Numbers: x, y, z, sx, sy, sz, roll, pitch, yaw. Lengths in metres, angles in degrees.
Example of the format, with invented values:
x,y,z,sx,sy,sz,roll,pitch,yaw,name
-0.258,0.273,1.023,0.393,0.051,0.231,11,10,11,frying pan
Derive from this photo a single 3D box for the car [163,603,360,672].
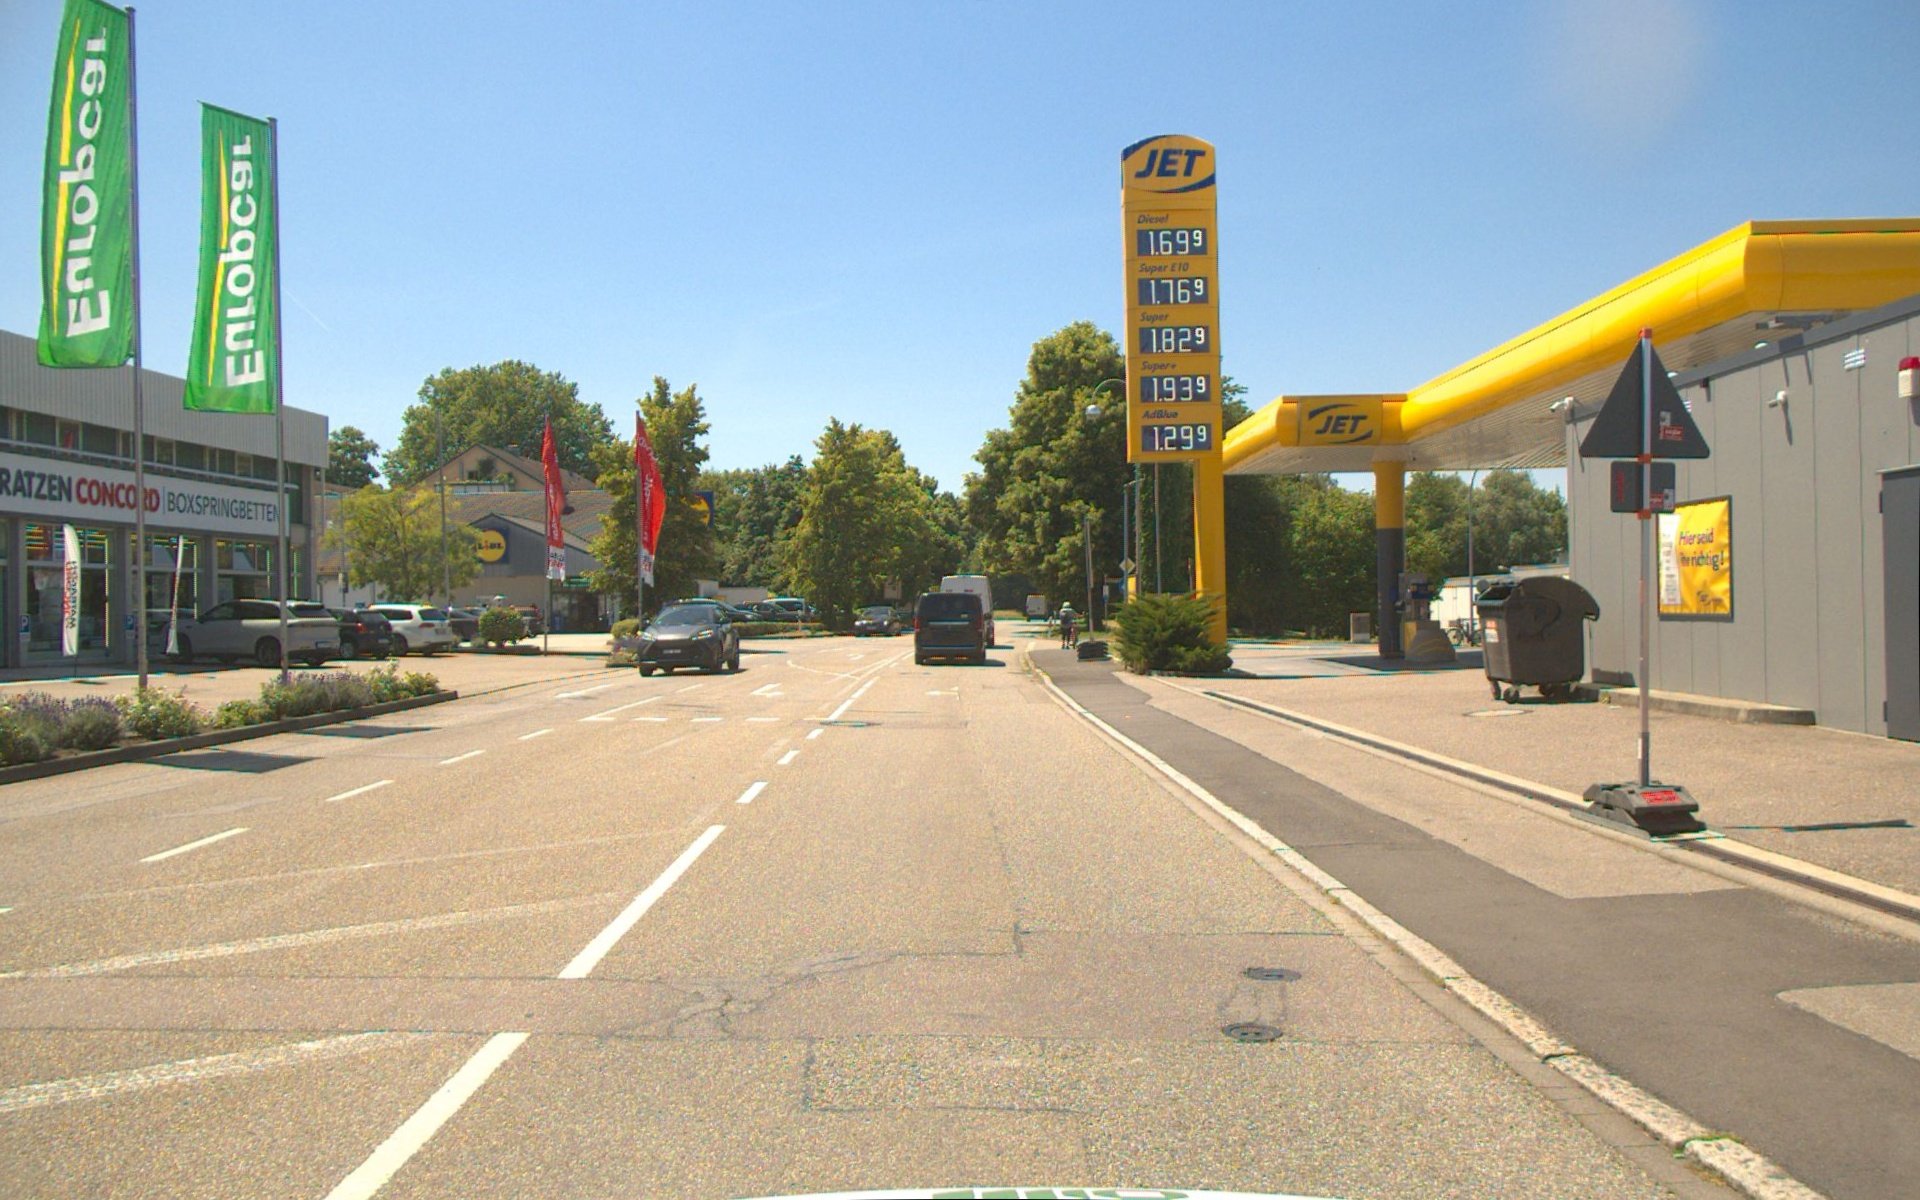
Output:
x,y,z,sx,sy,sz,roll,pitch,yaw,name
-17.863,0.934,42.345,4.435,1.693,2.001,0,0,18,car

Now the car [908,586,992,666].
x,y,z,sx,sy,sz,roll,pitch,yaw,name
-0.204,0.687,44.453,1.952,1.987,5.006,1,0,3,car

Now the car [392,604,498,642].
x,y,z,sx,sy,sz,roll,pitch,yaw,name
-22.569,1.004,72.637,4.153,1.617,1.767,0,-1,-5,car

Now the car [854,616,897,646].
x,y,z,sx,sy,sz,roll,pitch,yaw,name
-4.167,1.524,82.068,1.892,1.425,4.688,0,-1,0,car

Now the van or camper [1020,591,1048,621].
x,y,z,sx,sy,sz,roll,pitch,yaw,name
7.540,0.638,169.106,2.578,2.980,5.205,1,-1,-1,van or camper

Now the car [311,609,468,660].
x,y,z,sx,sy,sz,roll,pitch,yaw,name
-17.266,1.023,50.136,4.095,1.472,1.981,0,0,15,car

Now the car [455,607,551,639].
x,y,z,sx,sy,sz,roll,pitch,yaw,name
-22.747,1.157,82.431,4.224,1.557,1.827,0,-1,-1,car

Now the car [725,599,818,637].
x,y,z,sx,sy,sz,roll,pitch,yaw,name
-9.550,0.911,83.867,4.291,1.877,2.105,0,-1,9,car

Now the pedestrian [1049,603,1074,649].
x,y,z,sx,sy,sz,roll,pitch,yaw,name
3.211,0.812,52.308,0.752,1.446,0.868,0,0,7,pedestrian

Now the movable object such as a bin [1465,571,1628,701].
x,y,z,sx,sy,sz,roll,pitch,yaw,name
7.078,0.417,20.074,1.405,1.463,1.467,-2,0,-1,movable object such as a bin

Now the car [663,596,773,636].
x,y,z,sx,sy,sz,roll,pitch,yaw,name
-11.137,0.726,76.402,4.607,1.793,2.100,0,-1,7,car

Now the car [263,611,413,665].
x,y,z,sx,sy,sz,roll,pitch,yaw,name
-17.791,1.063,47.334,3.549,1.500,2.001,0,0,18,car

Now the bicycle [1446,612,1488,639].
x,y,z,sx,sy,sz,roll,pitch,yaw,name
21.523,1.083,70.191,1.657,1.117,0.468,0,-1,5,bicycle

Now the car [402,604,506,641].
x,y,z,sx,sy,sz,roll,pitch,yaw,name
-23.853,1.071,78.082,4.224,1.684,2.114,0,-1,-1,car

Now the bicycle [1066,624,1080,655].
x,y,z,sx,sy,sz,roll,pitch,yaw,name
3.548,1.233,51.951,0.370,0.928,1.599,0,0,6,bicycle

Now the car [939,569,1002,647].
x,y,z,sx,sy,sz,roll,pitch,yaw,name
0.434,0.297,61.162,2.035,2.750,4.668,1,-1,3,car

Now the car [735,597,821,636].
x,y,z,sx,sy,sz,roll,pitch,yaw,name
-9.519,0.880,86.586,4.266,2.015,1.905,0,-1,1,car

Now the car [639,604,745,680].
x,y,z,sx,sy,sz,roll,pitch,yaw,name
-6.049,0.911,37.709,1.726,1.553,4.137,-2,0,0,car
